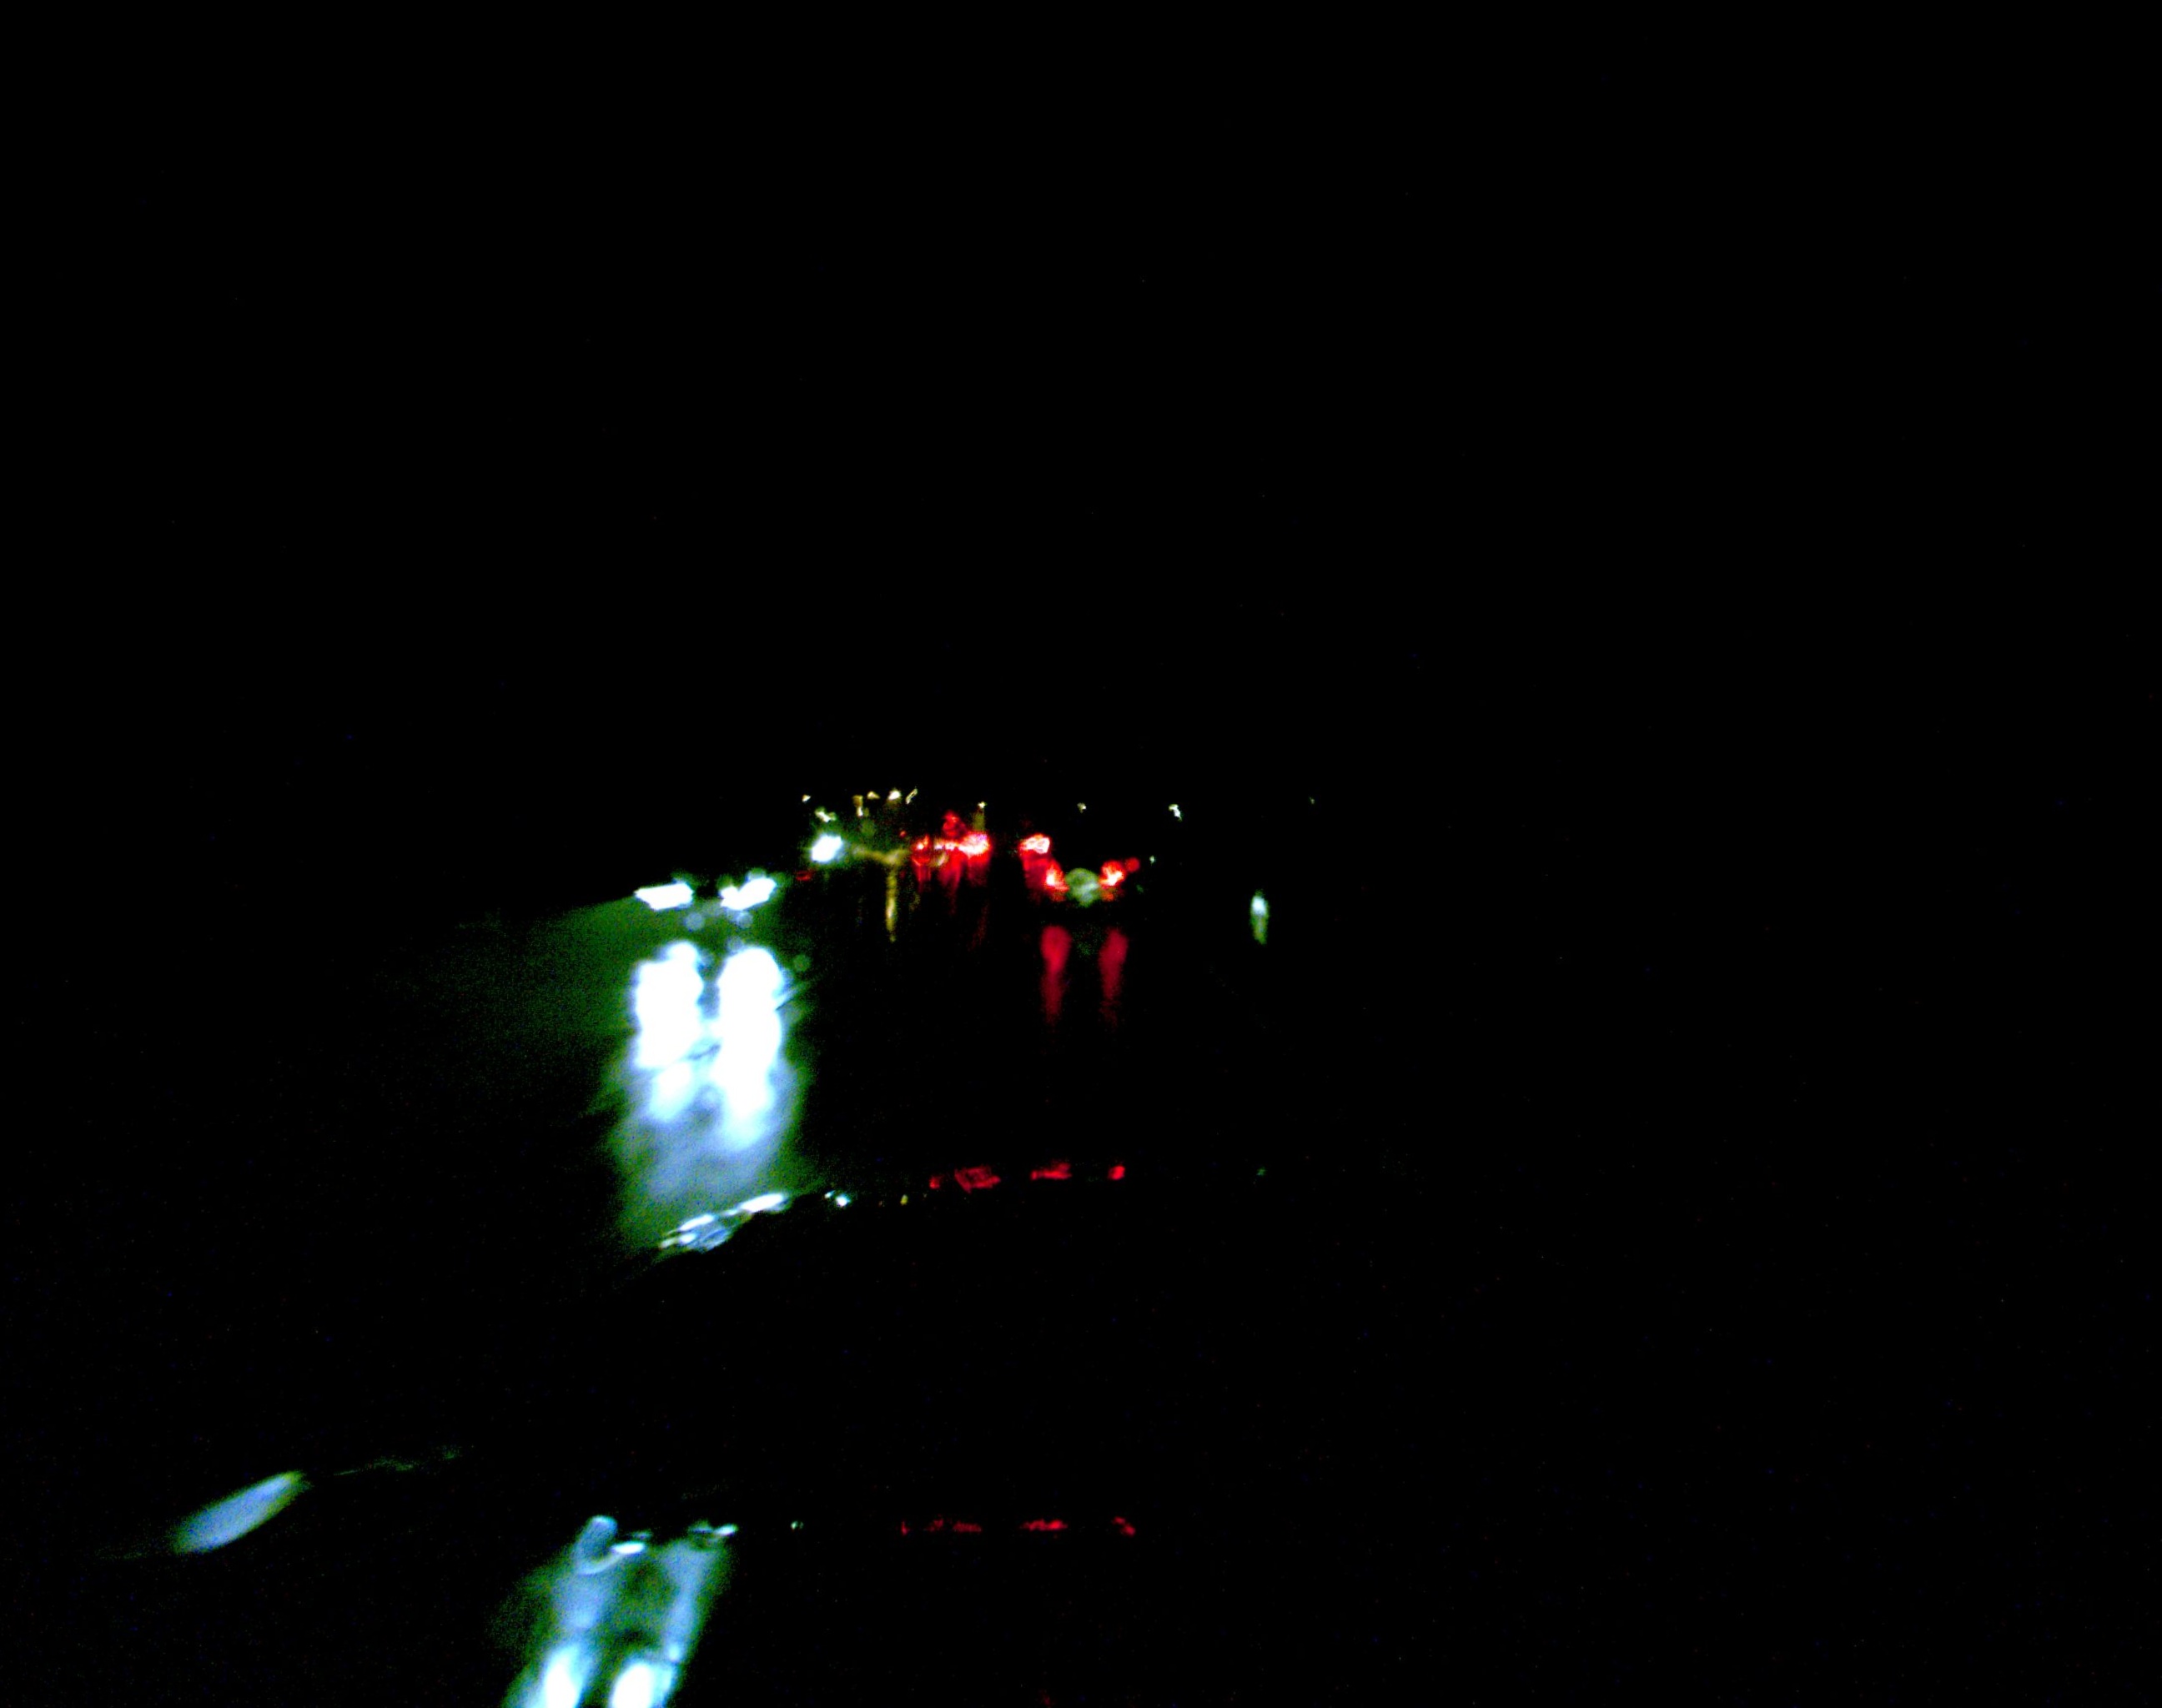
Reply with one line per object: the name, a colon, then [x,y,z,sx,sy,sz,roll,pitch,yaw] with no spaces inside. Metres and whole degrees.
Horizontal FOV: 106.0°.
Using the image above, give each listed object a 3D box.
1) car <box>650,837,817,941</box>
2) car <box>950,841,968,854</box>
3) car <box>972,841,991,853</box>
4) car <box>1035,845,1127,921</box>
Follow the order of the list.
car: [-6.766,0.615,16.473,1.859,1.747,4.948,-1,0,-8]
car: [-17.861,-0.958,119.095,1.998,1.627,4.959,-4,2,-15]
car: [-14.553,-1.011,119.235,1.998,1.627,4.959,-4,2,-15]
car: [0.043,0.647,20.329,1.986,1.628,4.985,-1,0,1]
